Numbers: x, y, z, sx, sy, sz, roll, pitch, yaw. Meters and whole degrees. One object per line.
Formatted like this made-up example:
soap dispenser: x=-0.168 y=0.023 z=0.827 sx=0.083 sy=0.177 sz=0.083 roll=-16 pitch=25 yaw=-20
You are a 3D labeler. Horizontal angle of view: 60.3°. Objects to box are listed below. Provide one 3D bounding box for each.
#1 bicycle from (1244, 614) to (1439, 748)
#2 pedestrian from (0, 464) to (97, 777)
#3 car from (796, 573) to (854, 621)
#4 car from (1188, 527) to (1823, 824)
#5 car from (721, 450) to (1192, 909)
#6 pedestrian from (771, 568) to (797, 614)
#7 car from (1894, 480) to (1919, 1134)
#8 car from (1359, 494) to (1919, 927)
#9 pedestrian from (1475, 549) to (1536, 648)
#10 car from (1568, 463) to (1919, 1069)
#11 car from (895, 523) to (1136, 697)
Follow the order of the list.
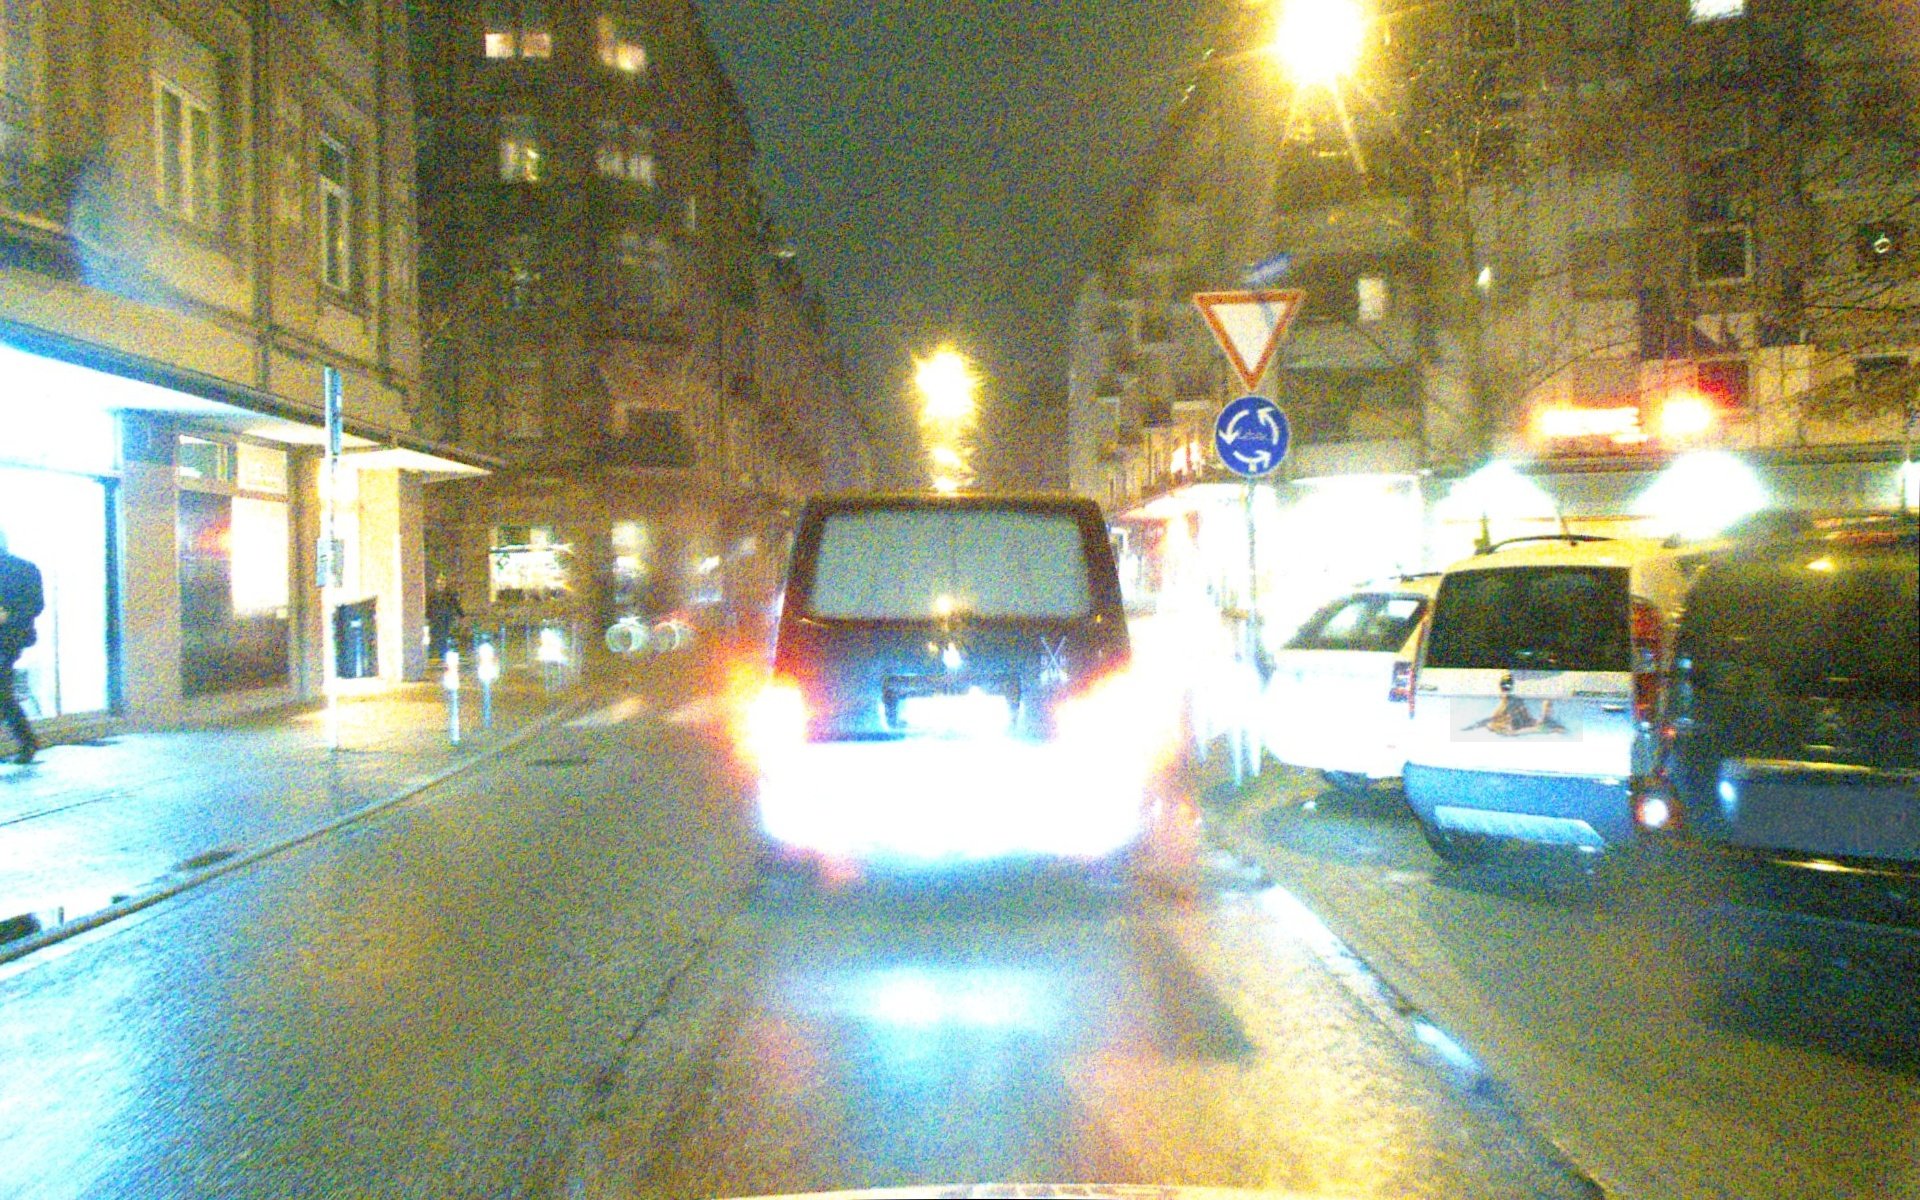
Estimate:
bicycle: x=3.146 y=0.649 z=13.748 sx=1.617 sy=1.044 sz=0.334 roll=-1 pitch=2 yaw=43
pedestrian: x=-7.287 y=0.150 z=12.631 sx=0.783 sy=2.280 sz=1.116 roll=-1 pitch=0 yaw=-2
car: x=-4.428 y=-0.120 z=54.569 sx=1.554 sy=1.489 sz=4.024 roll=2 pitch=1 yaw=0
car: x=3.804 y=0.400 z=11.374 sx=4.204 sy=1.601 sz=1.754 roll=-3 pitch=1 yaw=-30
car: x=-0.028 y=0.329 z=9.656 sx=2.079 sy=2.026 sz=4.600 roll=0 pitch=0 yaw=0
pedestrian: x=-6.872 y=-0.352 z=64.527 sx=0.787 sy=1.797 sz=1.016 roll=1 pitch=0 yaw=5
car: x=3.765 y=0.504 z=2.935 sx=4.015 sy=1.625 sz=1.817 roll=-3 pitch=1 yaw=-29
car: x=4.000 y=0.386 z=8.550 sx=3.699 sy=1.742 sz=1.750 roll=-3 pitch=1 yaw=-36
pedestrian: x=10.564 y=-0.030 z=32.002 sx=0.861 sy=1.865 sz=0.980 roll=-1 pitch=0 yaw=35
car: x=4.118 y=0.394 z=6.041 sx=3.751 sy=1.742 sz=1.727 roll=-3 pitch=1 yaw=-36
car: x=0.859 y=0.076 z=21.138 sx=2.077 sy=1.956 sz=4.830 roll=0 pitch=1 yaw=14
